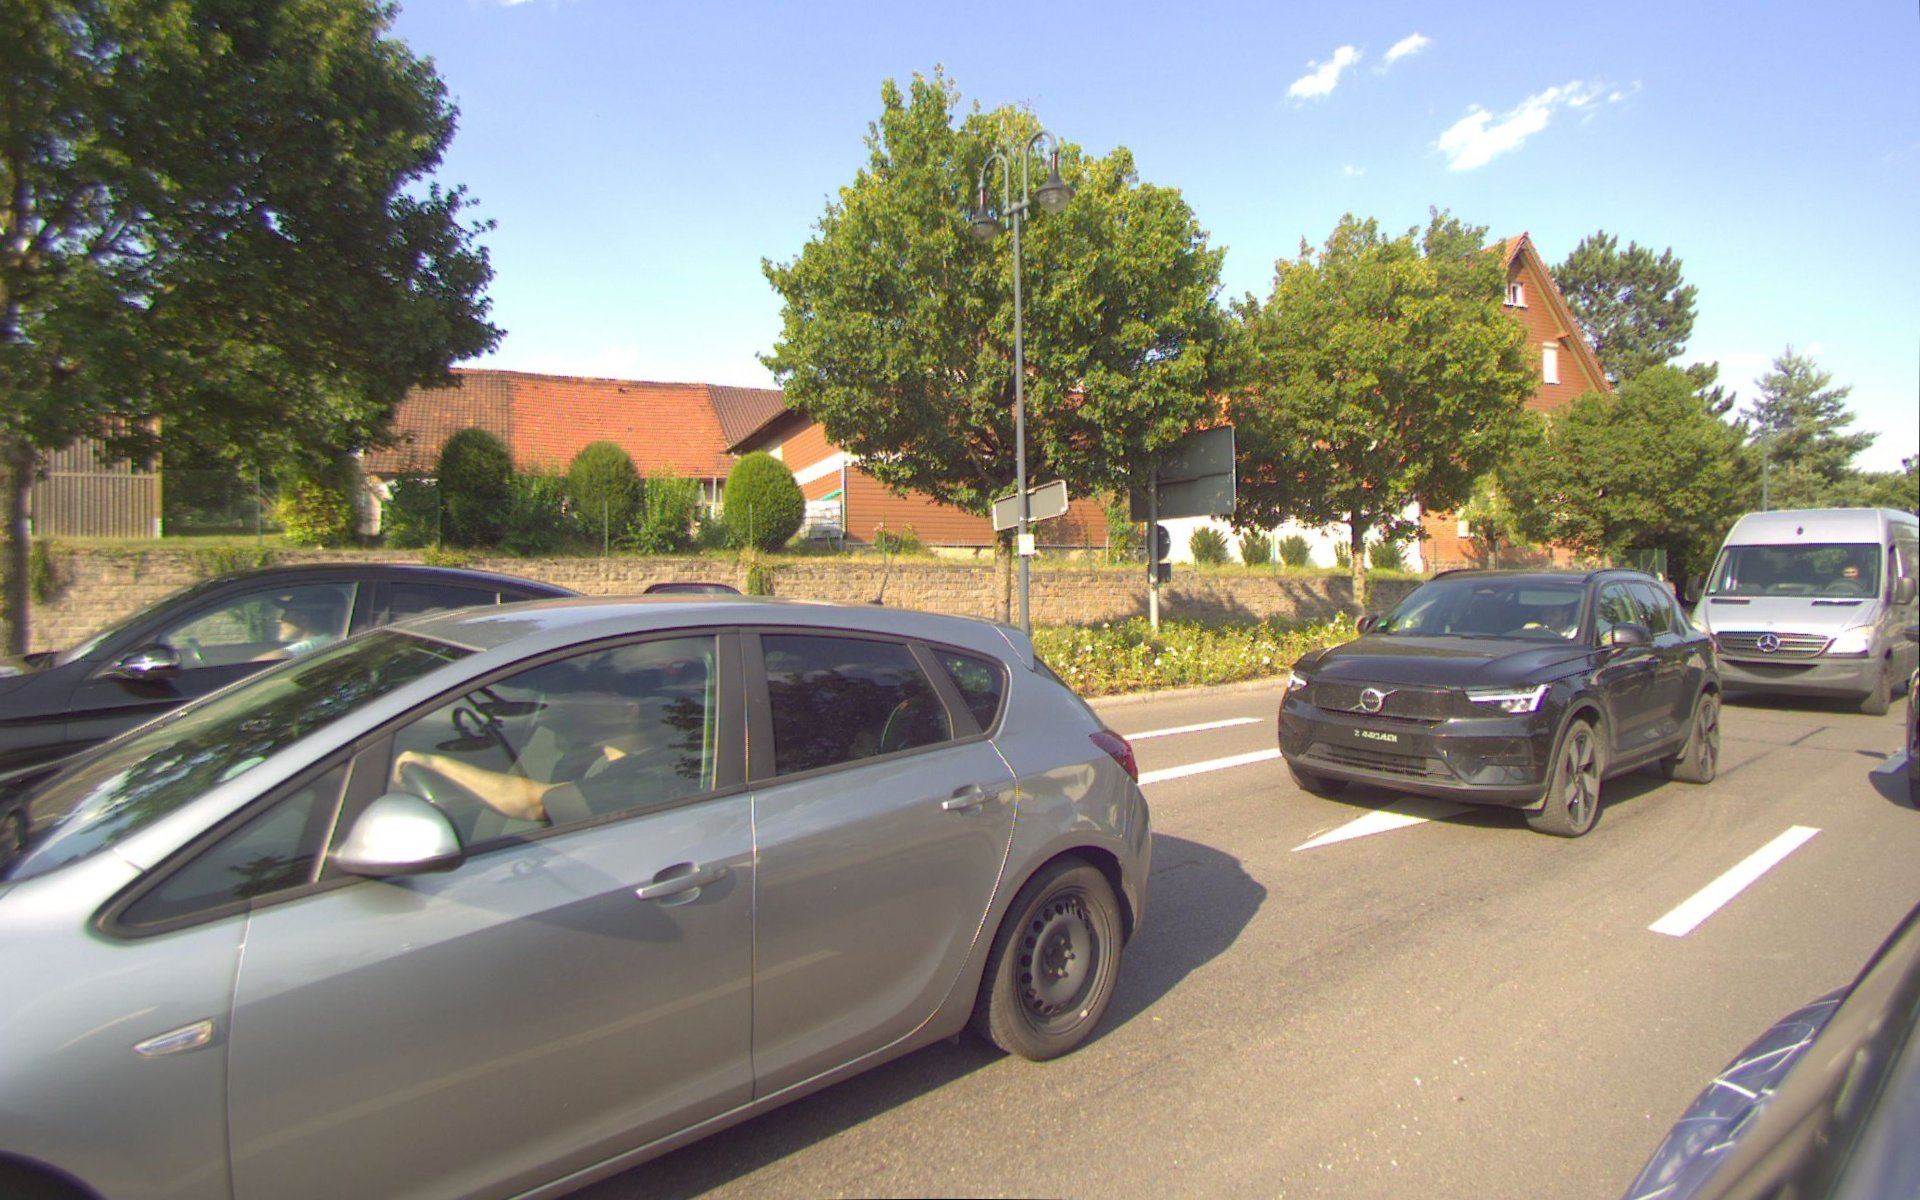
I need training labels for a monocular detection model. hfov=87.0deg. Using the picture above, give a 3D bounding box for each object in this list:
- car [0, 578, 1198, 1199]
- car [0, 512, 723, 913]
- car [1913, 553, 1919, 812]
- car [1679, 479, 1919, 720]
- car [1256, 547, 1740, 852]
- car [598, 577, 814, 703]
[{"bbox_3d":[-1.224,0.672,2.836,4.072,1.440,1.650,-1,2,-42],"label":"car"},{"bbox_3d":[-3.686,0.436,5.470,1.839,1.586,4.424,-1,0,44],"label":"car"},{"bbox_3d":[8.037,0.488,6.931,3.985,1.611,1.767,-1,0,-40],"label":"car"},{"bbox_3d":[12.295,-0.040,14.216,6.532,2.692,2.038,-1,0,-40],"label":"car"},{"bbox_3d":[4.067,0.501,7.382,3.985,1.625,1.791,-1,1,-40],"label":"car"},{"bbox_3d":[-3.588,0.438,13.777,1.714,1.449,4.002,-1,1,-32],"label":"car"}]
